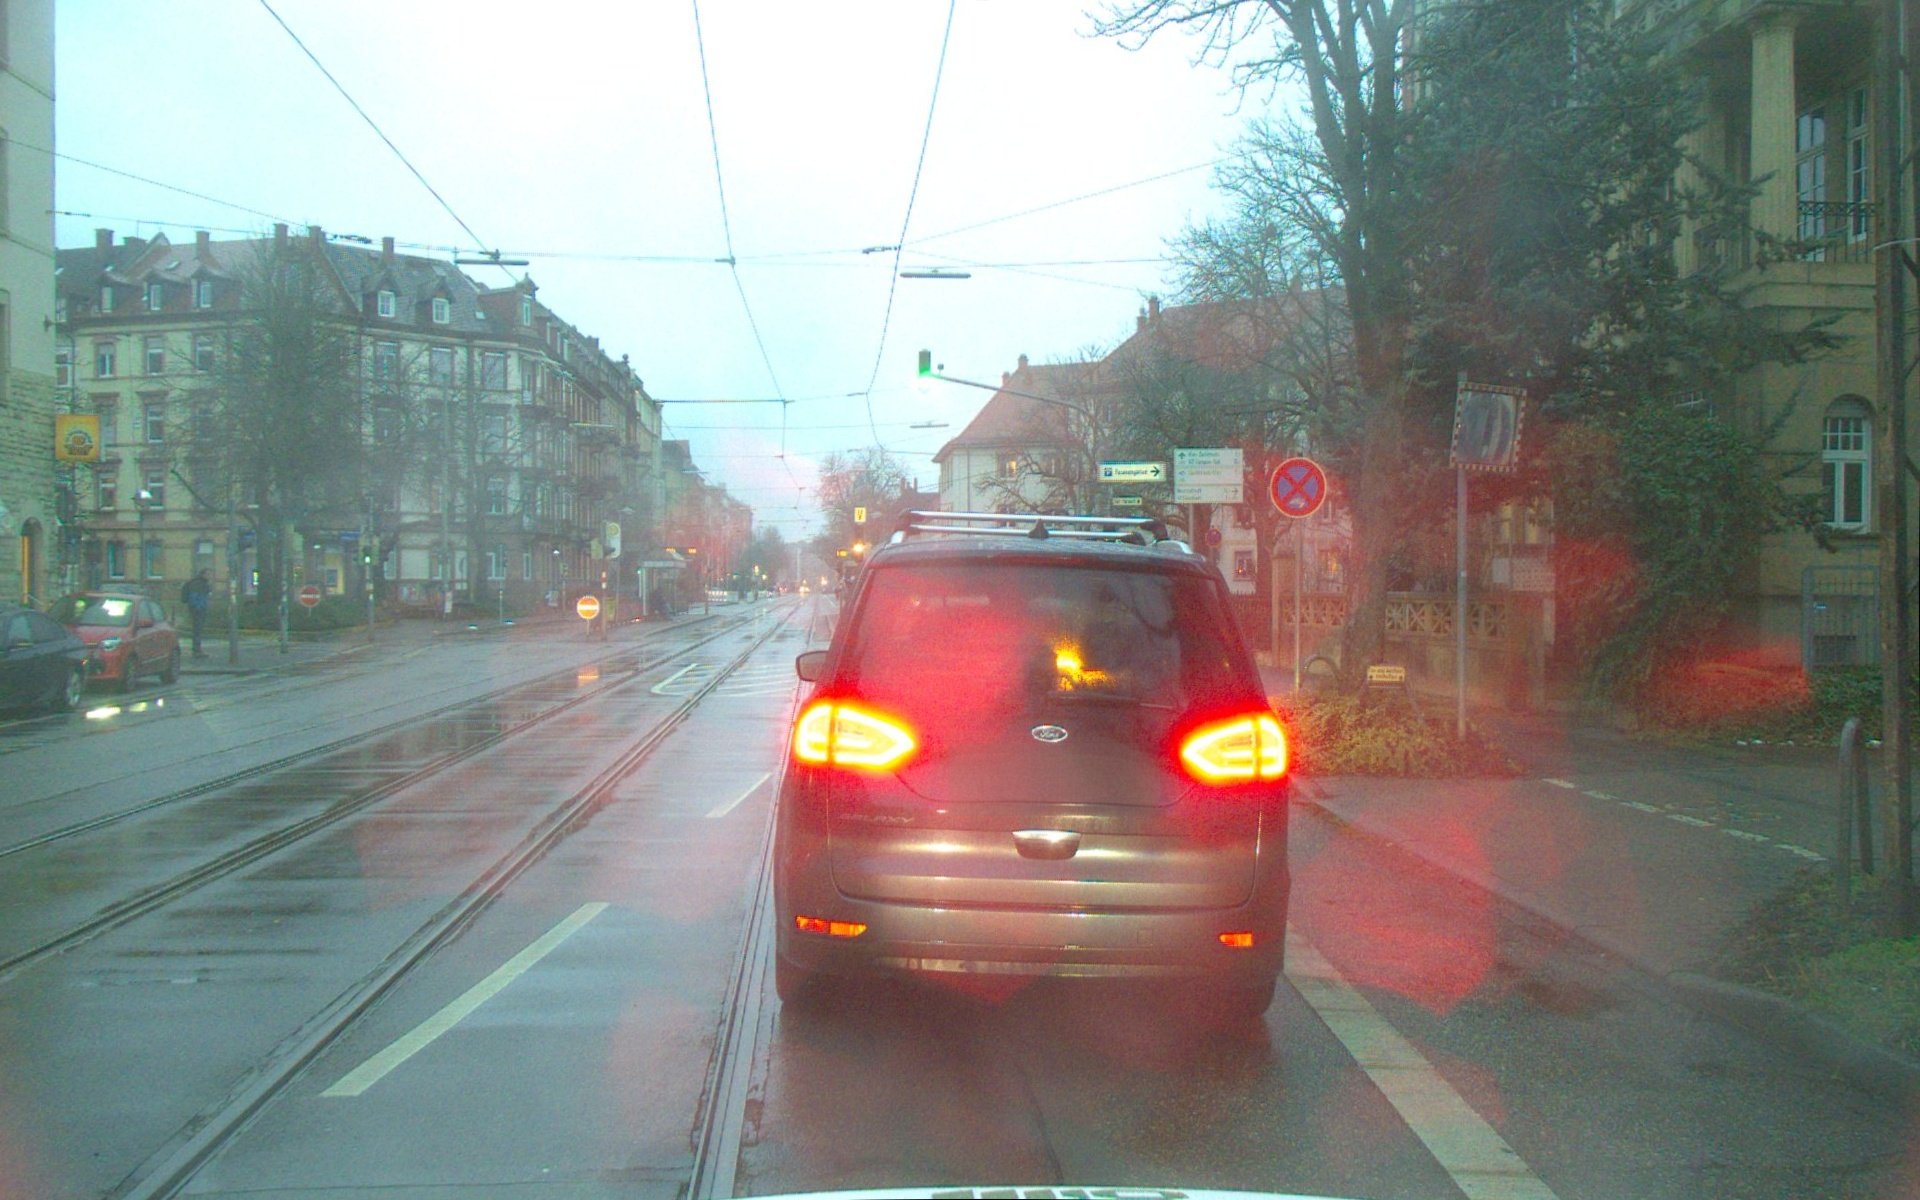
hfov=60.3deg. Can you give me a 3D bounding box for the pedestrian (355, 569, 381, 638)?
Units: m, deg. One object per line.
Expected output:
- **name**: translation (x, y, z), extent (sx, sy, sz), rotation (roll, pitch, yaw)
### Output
- **pedestrian**: translation (-17.773, 0.098, 49.650), extent (0.695, 2.049, 0.656), rotation (0, 0, -24)

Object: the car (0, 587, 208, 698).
- **car**: translation (-14.288, 0.649, 27.702), extent (2.000, 1.578, 4.023), rotation (4, 0, -9)

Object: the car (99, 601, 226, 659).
- **car**: translation (-24.553, 0.889, 50.917), extent (3.922, 1.702, 2.013), rotation (0, 0, 38)

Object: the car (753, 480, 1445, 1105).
- **car**: translation (0.340, 0.576, 7.347), extent (2.061, 1.848, 4.658), rotation (2, 0, -2)

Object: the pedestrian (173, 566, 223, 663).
- **pedestrian**: translation (-16.213, 0.301, 35.207), extent (0.742, 2.049, 0.646), rotation (0, -1, 32)

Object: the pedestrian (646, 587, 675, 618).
- **pedestrian**: translation (-12.289, 0.106, 67.874), extent (1.027, 1.221, 0.884), rotation (1, 0, -4)

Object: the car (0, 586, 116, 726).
- **car**: translation (-13.131, 0.672, 21.829), extent (1.949, 1.674, 4.624), rotation (5, -1, -7)

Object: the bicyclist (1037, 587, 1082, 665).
- **bicyclist**: translation (2.237, 0.567, 37.348), extent (0.703, 1.691, 1.054), rotation (4, 0, -9)
